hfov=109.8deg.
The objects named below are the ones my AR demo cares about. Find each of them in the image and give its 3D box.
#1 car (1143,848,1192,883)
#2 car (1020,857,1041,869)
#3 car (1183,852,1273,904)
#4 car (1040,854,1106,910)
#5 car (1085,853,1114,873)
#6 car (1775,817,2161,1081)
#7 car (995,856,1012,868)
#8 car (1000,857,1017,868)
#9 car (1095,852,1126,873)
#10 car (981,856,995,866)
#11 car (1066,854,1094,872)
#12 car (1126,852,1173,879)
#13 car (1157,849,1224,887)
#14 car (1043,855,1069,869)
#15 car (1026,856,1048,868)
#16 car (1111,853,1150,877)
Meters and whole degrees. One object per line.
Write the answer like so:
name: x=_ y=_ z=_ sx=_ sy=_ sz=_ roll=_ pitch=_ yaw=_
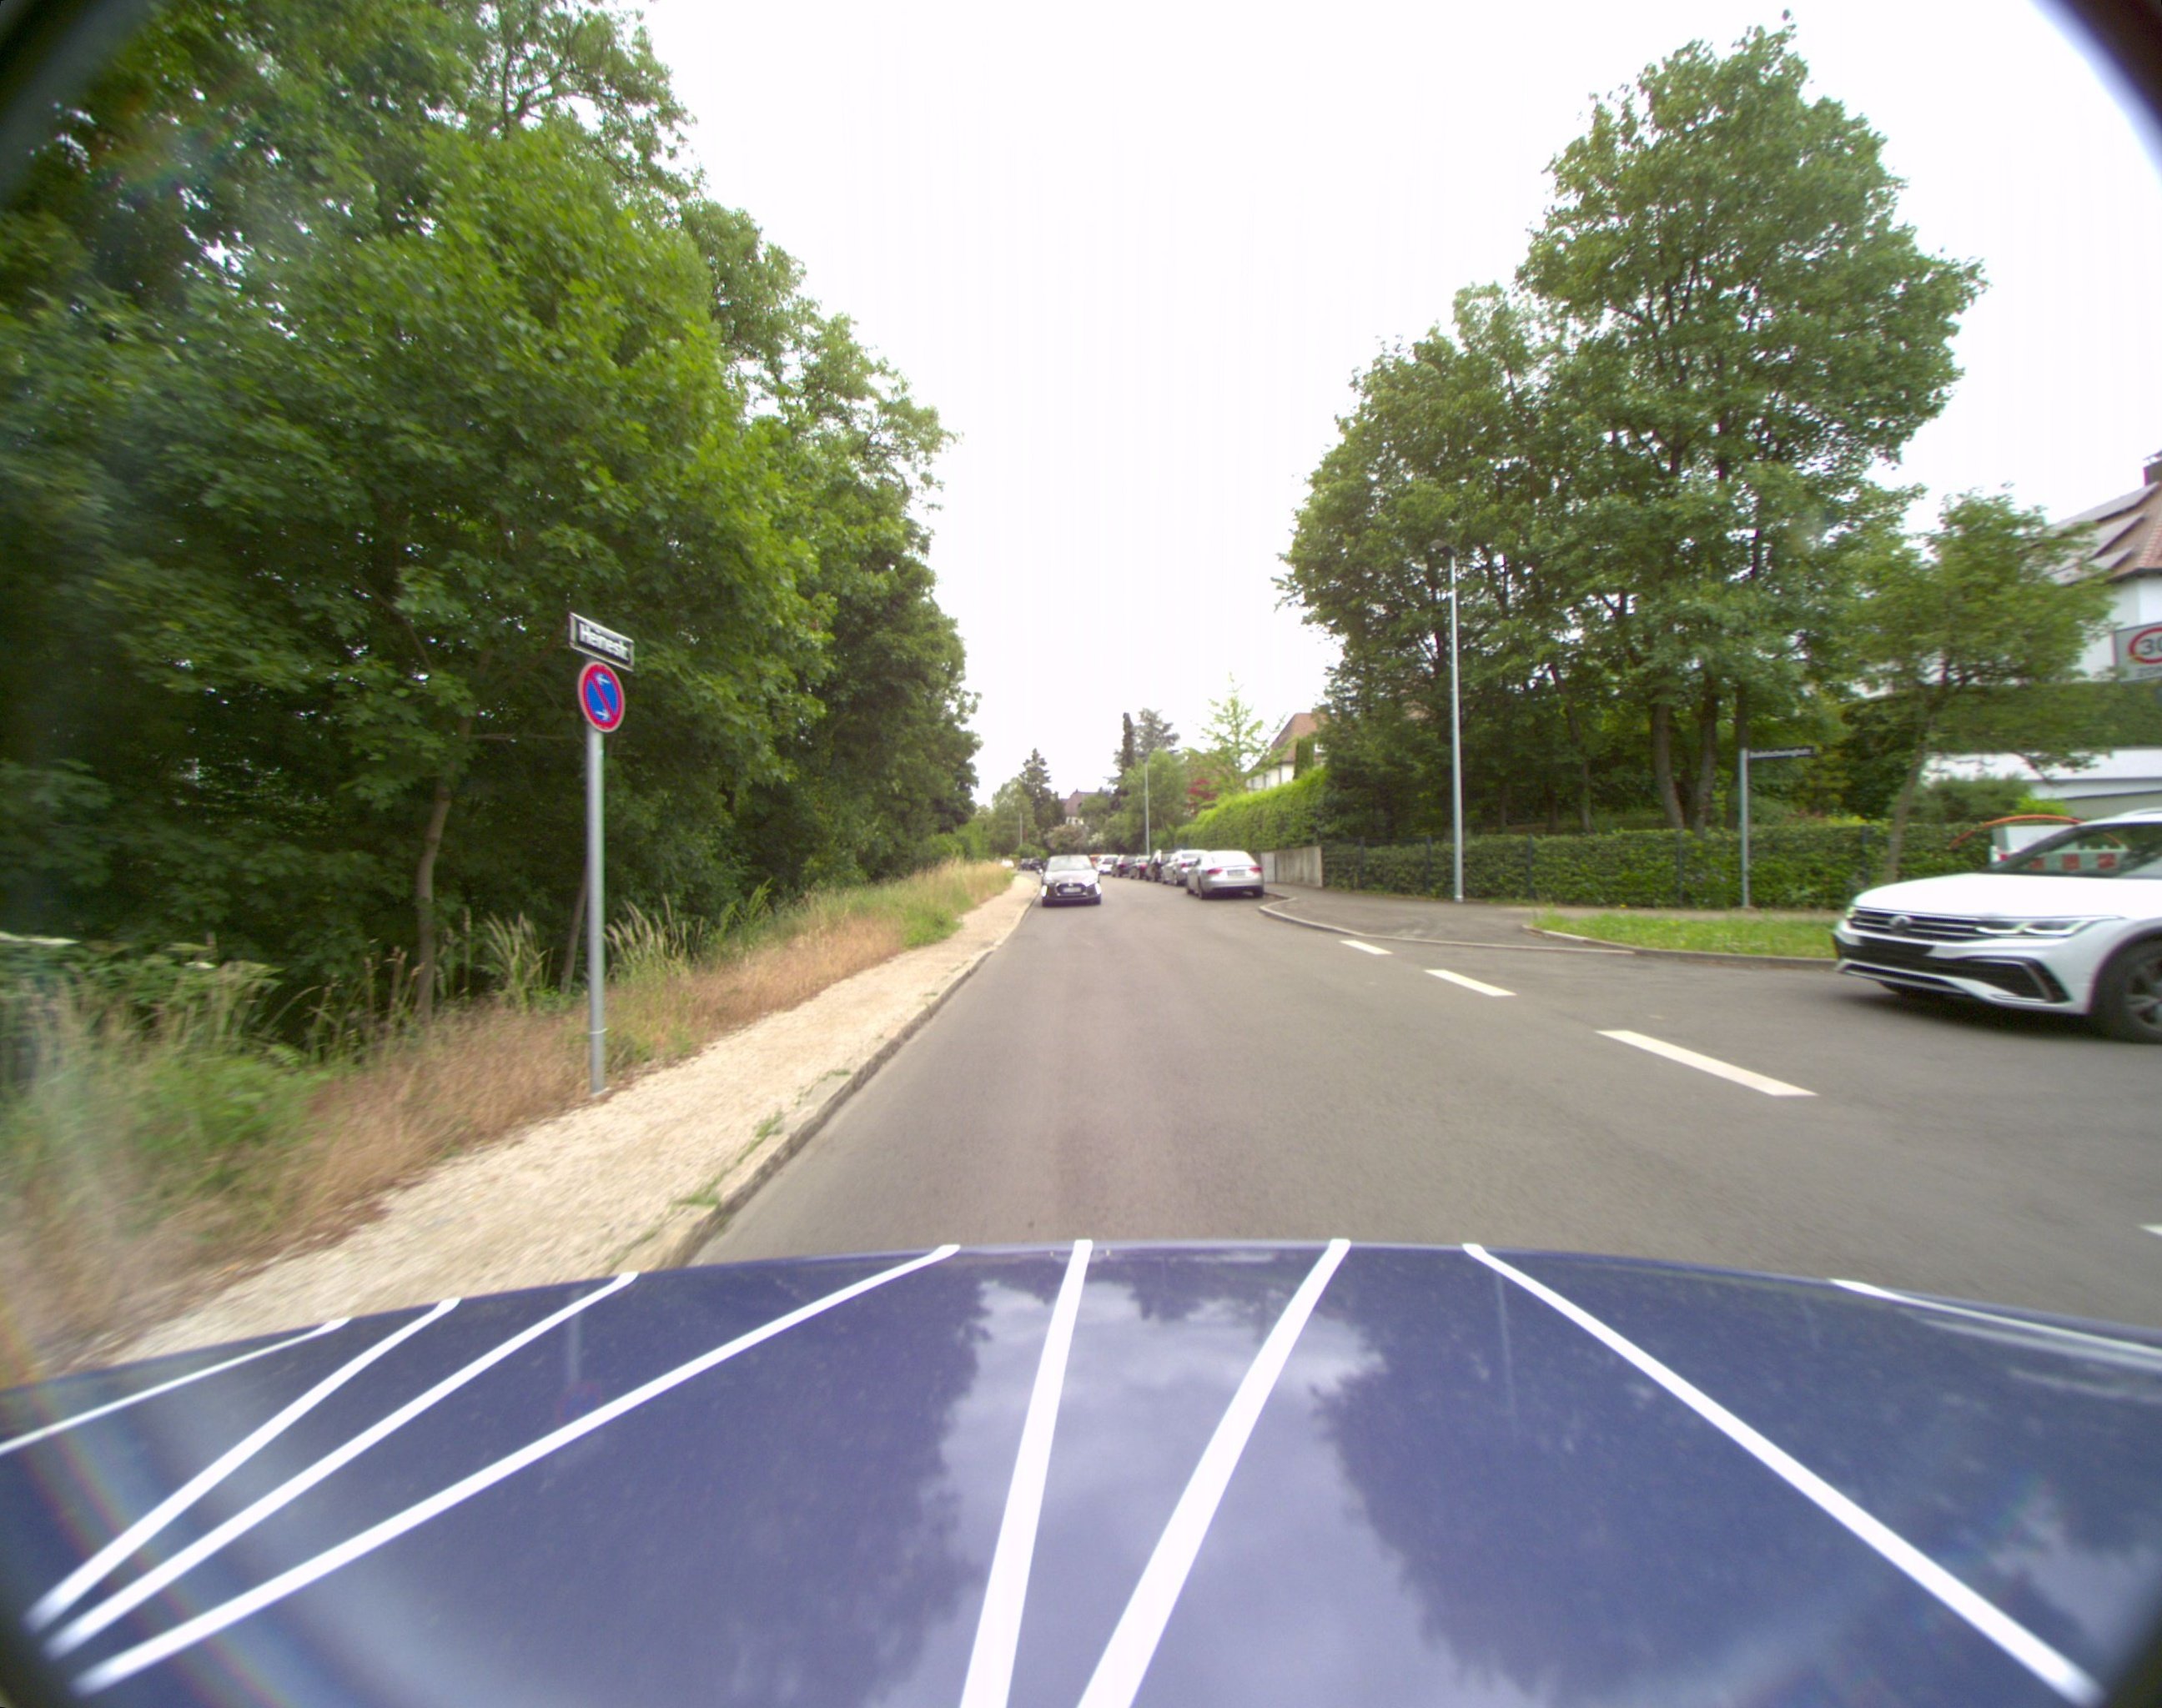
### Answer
car: x=4.167 y=0.536 z=37.152 sx=1.661 sy=1.524 sz=4.473 roll=-3 pitch=0 yaw=-3
car: x=-6.375 y=1.116 z=95.321 sx=1.713 sy=1.408 sz=4.144 roll=-2 pitch=0 yaw=-16
car: x=4.362 y=0.656 z=23.258 sx=1.836 sy=1.366 sz=4.445 roll=-3 pitch=0 yaw=0
car: x=-0.160 y=0.762 z=22.947 sx=1.711 sy=1.466 sz=4.195 roll=-2 pitch=0 yaw=2
car: x=1.445 y=0.735 z=61.141 sx=1.549 sy=1.505 sz=3.640 roll=-2 pitch=0 yaw=-11
car: x=8.781 y=0.549 z=5.763 sx=4.946 sy=1.660 sz=2.038 roll=-2 pitch=1 yaw=6
car: x=-11.702 y=1.188 z=113.989 sx=1.798 sy=1.654 sz=4.386 roll=-2 pitch=0 yaw=-16
car: x=-10.431 y=1.210 z=109.570 sx=1.713 sy=1.502 sz=3.941 roll=-2 pitch=0 yaw=-16
car: x=2.175 y=0.623 z=56.685 sx=1.593 sy=1.505 sz=3.587 roll=-2 pitch=0 yaw=-9
car: x=-15.859 y=1.198 z=129.178 sx=1.713 sy=1.502 sz=4.549 roll=-2 pitch=0 yaw=-14
car: x=-0.115 y=0.807 z=68.820 sx=1.713 sy=1.505 sz=4.359 roll=-2 pitch=0 yaw=-11
car: x=3.809 y=0.630 z=42.715 sx=1.716 sy=1.333 sz=4.105 roll=-3 pitch=0 yaw=-8
car: x=4.442 y=0.551 z=31.377 sx=1.780 sy=1.366 sz=4.338 roll=-3 pitch=0 yaw=-5
car: x=-2.657 y=0.815 z=79.274 sx=1.713 sy=1.402 sz=4.155 roll=-2 pitch=0 yaw=-16
car: x=-5.268 y=0.966 z=90.631 sx=1.713 sy=1.408 sz=4.127 roll=-2 pitch=0 yaw=-16
car: x=3.100 y=0.673 z=48.843 sx=1.723 sy=1.377 sz=4.661 roll=-2 pitch=0 yaw=-6
